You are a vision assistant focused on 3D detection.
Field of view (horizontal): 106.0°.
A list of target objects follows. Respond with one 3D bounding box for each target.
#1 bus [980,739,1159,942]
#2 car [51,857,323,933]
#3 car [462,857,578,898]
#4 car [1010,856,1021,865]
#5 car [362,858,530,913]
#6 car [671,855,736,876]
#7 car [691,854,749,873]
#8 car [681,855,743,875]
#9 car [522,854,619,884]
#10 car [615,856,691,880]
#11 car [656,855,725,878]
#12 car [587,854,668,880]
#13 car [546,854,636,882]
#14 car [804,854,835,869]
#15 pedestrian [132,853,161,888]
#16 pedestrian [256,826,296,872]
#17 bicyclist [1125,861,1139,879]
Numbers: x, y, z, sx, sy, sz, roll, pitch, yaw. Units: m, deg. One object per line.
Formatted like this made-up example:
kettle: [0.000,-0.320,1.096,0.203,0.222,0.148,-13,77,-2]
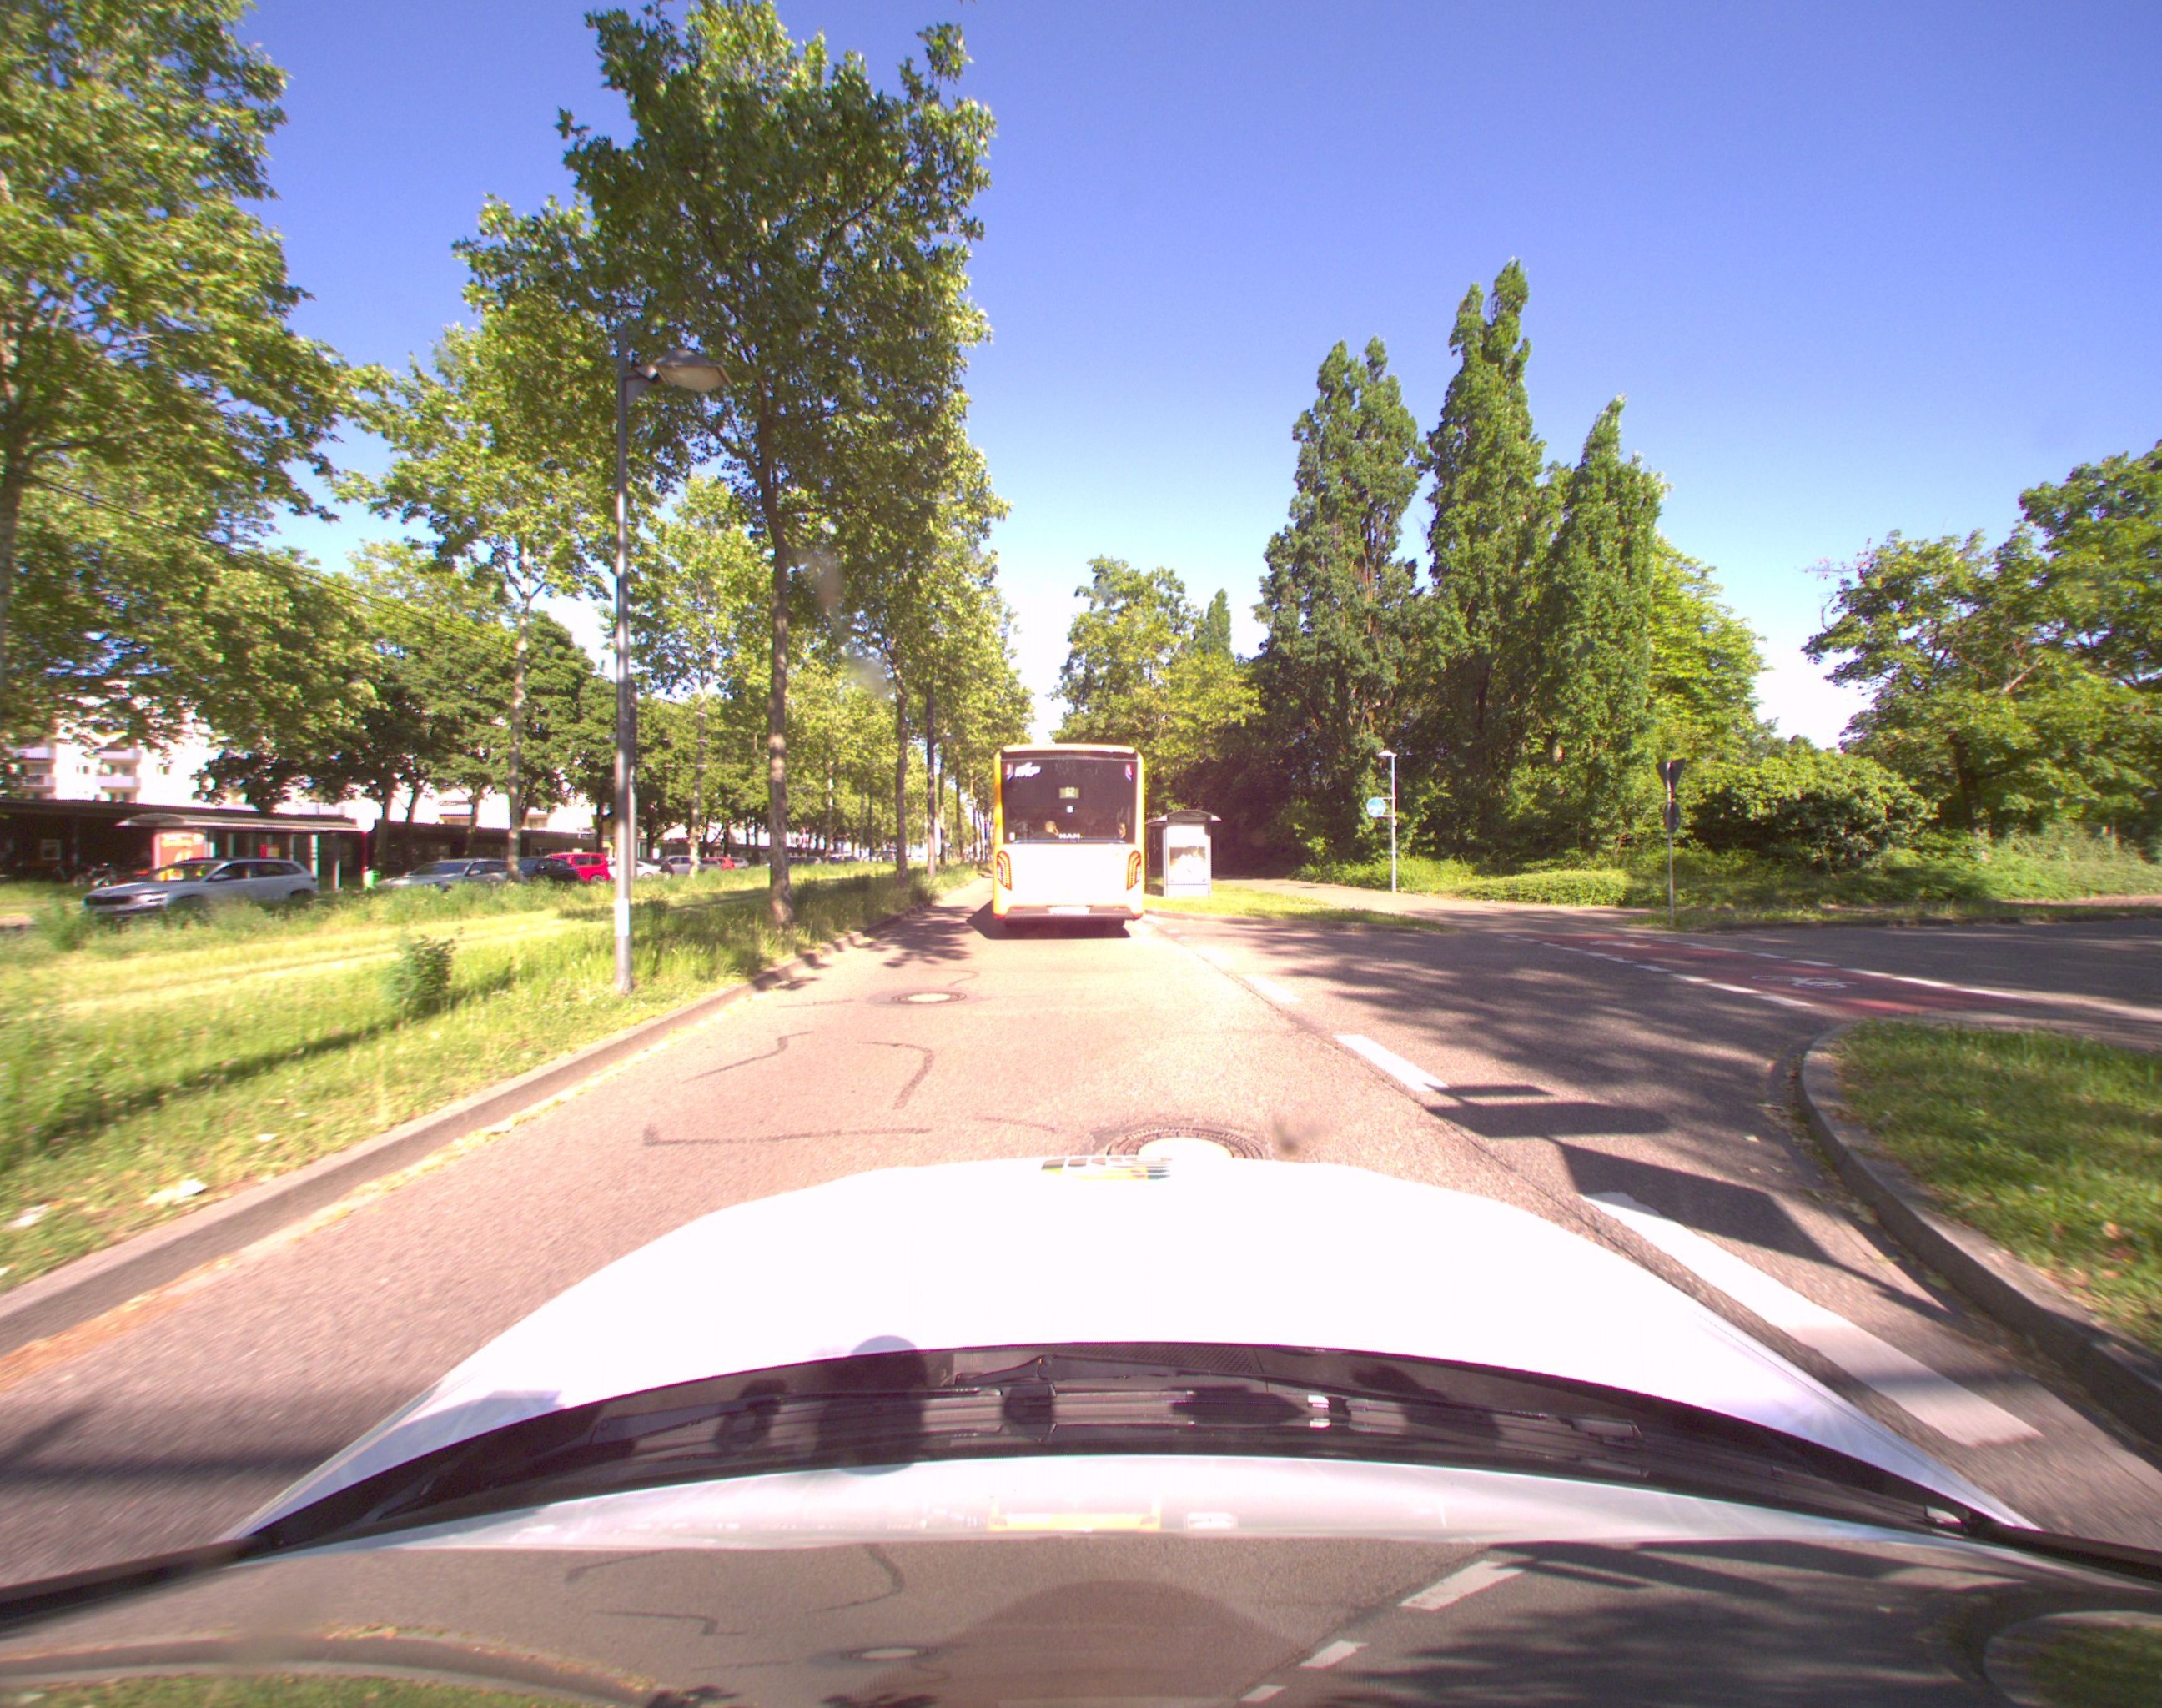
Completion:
bus: [-0.410,-0.226,19.319,2.892,3.267,12.207,0,0,-2]
car: [-20.955,0.881,19.425,1.789,1.580,4.286,-1,0,-1]
car: [-22.112,0.885,32.295,1.788,1.510,4.000,0,0,0]
car: [-13.712,1.417,170.673,1.980,1.643,4.133,2,1,0]
car: [-19.583,0.889,25.422,1.790,1.510,4.669,0,0,-4]
car: [-28.097,0.852,60.759,1.777,1.510,4.024,-1,0,42]
car: [-29.584,0.784,66.789,1.777,1.510,4.024,-1,0,42]
car: [-28.950,0.849,63.922,1.777,1.510,4.024,-1,0,42]
car: [-27.045,0.760,43.190,1.777,1.510,4.024,-1,0,42]
car: [-28.076,0.880,53.484,1.778,1.510,4.023,-1,0,45]
car: [-27.419,0.872,57.304,1.777,1.510,4.024,-1,0,42]
car: [-27.757,0.767,49.923,1.777,1.510,4.024,-1,0,42]
car: [-27.717,0.749,46.109,1.777,1.510,4.024,-1,0,42]
car: [-27.603,0.780,86.032,1.787,1.510,4.002,0,0,2]
pedestrian: [-44.459,0.782,38.756,0.647,1.661,0.648,0,0,-7]
pedestrian: [-26.366,-0.160,26.690,0.646,1.460,0.650,0,0,0]
bicyclist: [4.984,1.576,80.162,1.179,1.661,1.025,0,0,-10]
